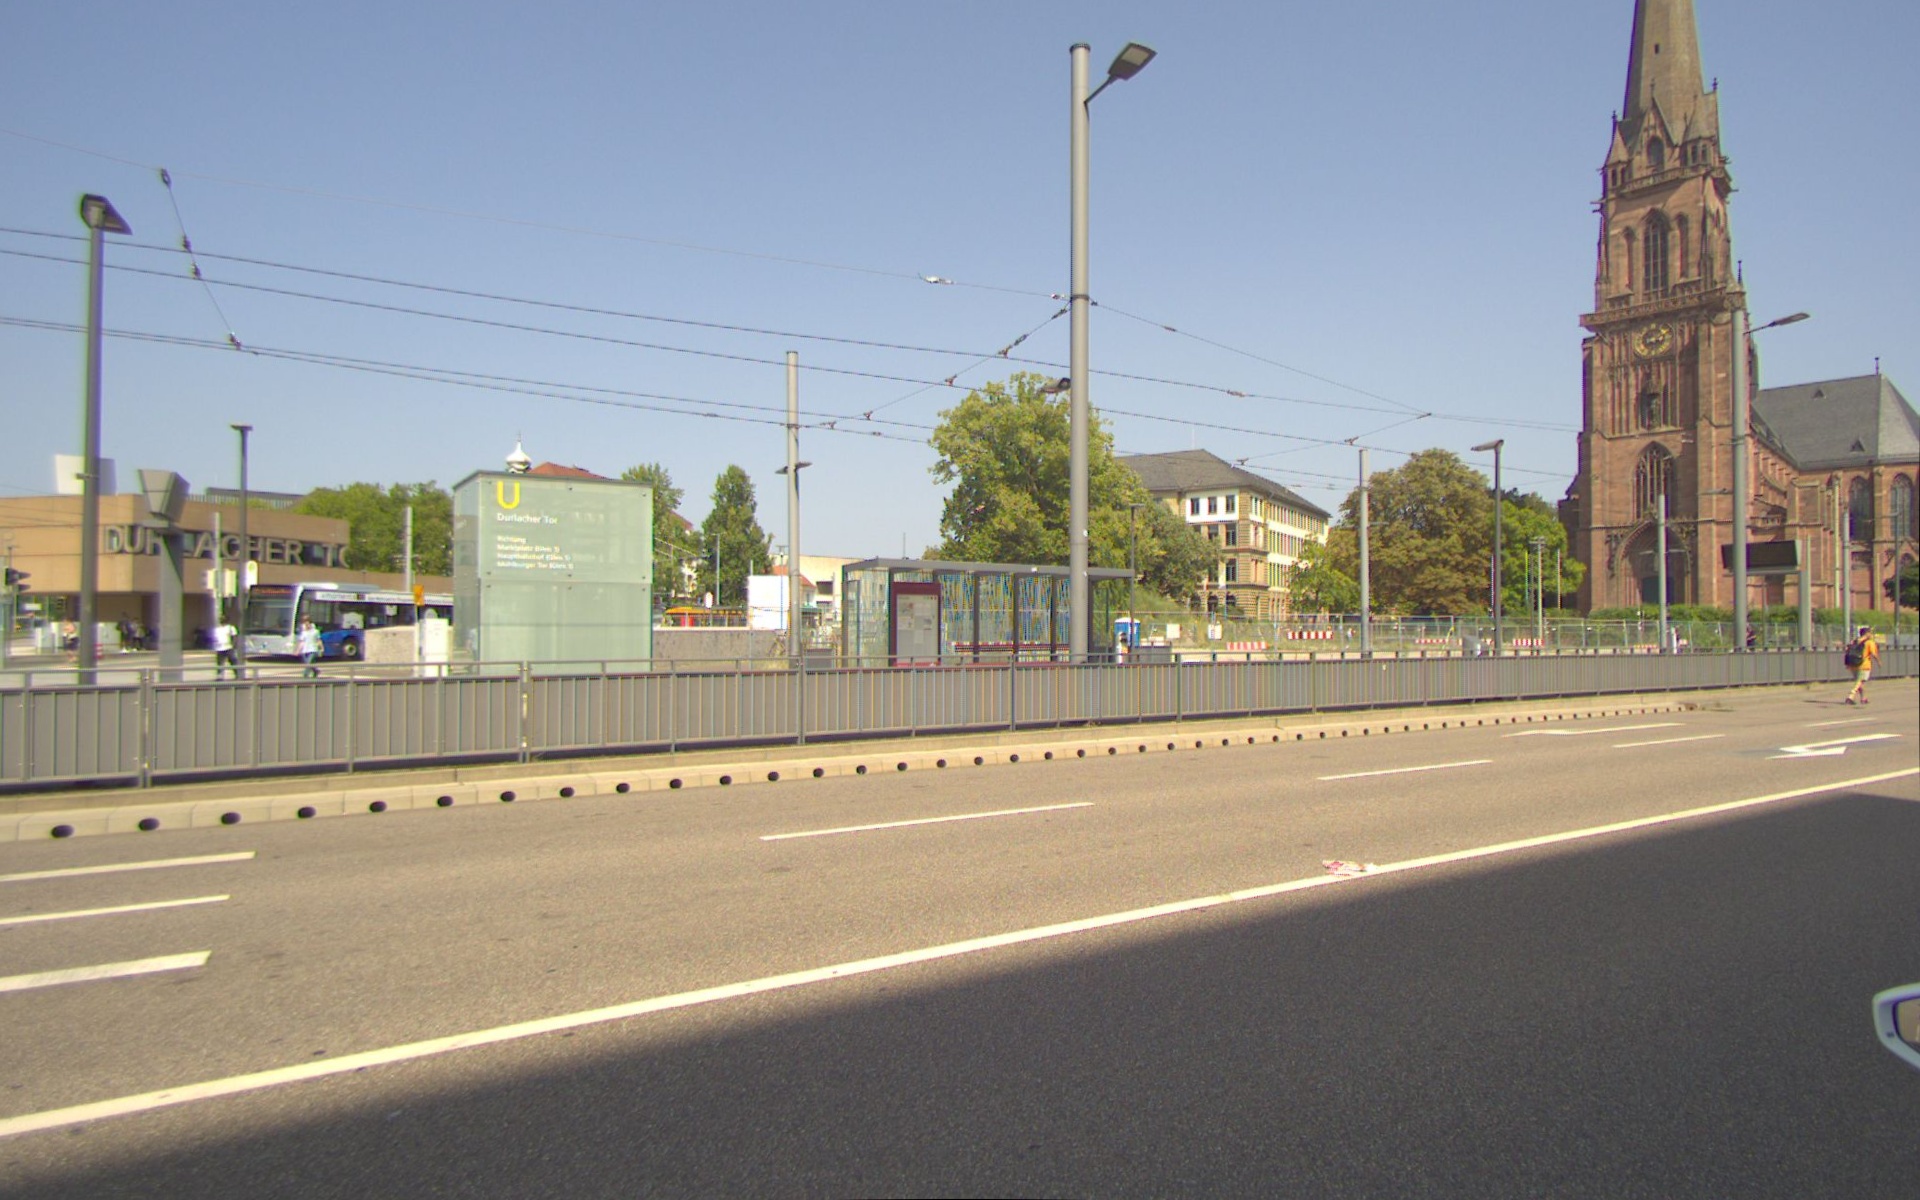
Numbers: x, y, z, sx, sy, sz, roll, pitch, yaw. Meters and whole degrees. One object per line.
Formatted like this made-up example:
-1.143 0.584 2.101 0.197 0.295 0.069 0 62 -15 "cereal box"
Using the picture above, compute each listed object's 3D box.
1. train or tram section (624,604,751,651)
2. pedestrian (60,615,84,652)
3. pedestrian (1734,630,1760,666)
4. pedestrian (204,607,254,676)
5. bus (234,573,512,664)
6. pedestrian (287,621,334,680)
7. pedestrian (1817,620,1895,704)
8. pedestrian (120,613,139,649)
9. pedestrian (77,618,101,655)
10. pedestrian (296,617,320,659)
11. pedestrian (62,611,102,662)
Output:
-24.999 2.689 93.949 3.982 3.972 16.683 -2 -3 13 "train or tram section"
-40.475 1.525 45.790 0.567 1.698 0.587 -2 0 15 "pedestrian"
39.658 2.405 50.596 0.712 1.775 0.825 2 -2 -30 "pedestrian"
-18.856 1.065 25.915 0.768 1.751 0.679 0 -1 9 "pedestrian"
-24.844 0.796 43.920 2.623 3.375 12.767 0 -1 12 "bus"
-17.707 1.363 27.393 0.768 1.569 0.679 1 -1 9 "pedestrian"
19.442 1.332 21.815 1.049 1.775 0.763 1 -2 -7 "pedestrian"
-38.886 1.459 47.021 0.564 1.667 0.508 -1 0 -28 "pedestrian"
-40.347 1.678 46.515 0.567 1.698 0.587 -2 0 15 "pedestrian"
-24.201 1.398 37.278 0.568 1.549 0.597 2 -2 -21 "pedestrian"
-31.998 1.335 36.626 0.775 1.803 0.953 2 -2 -25 "pedestrian"
